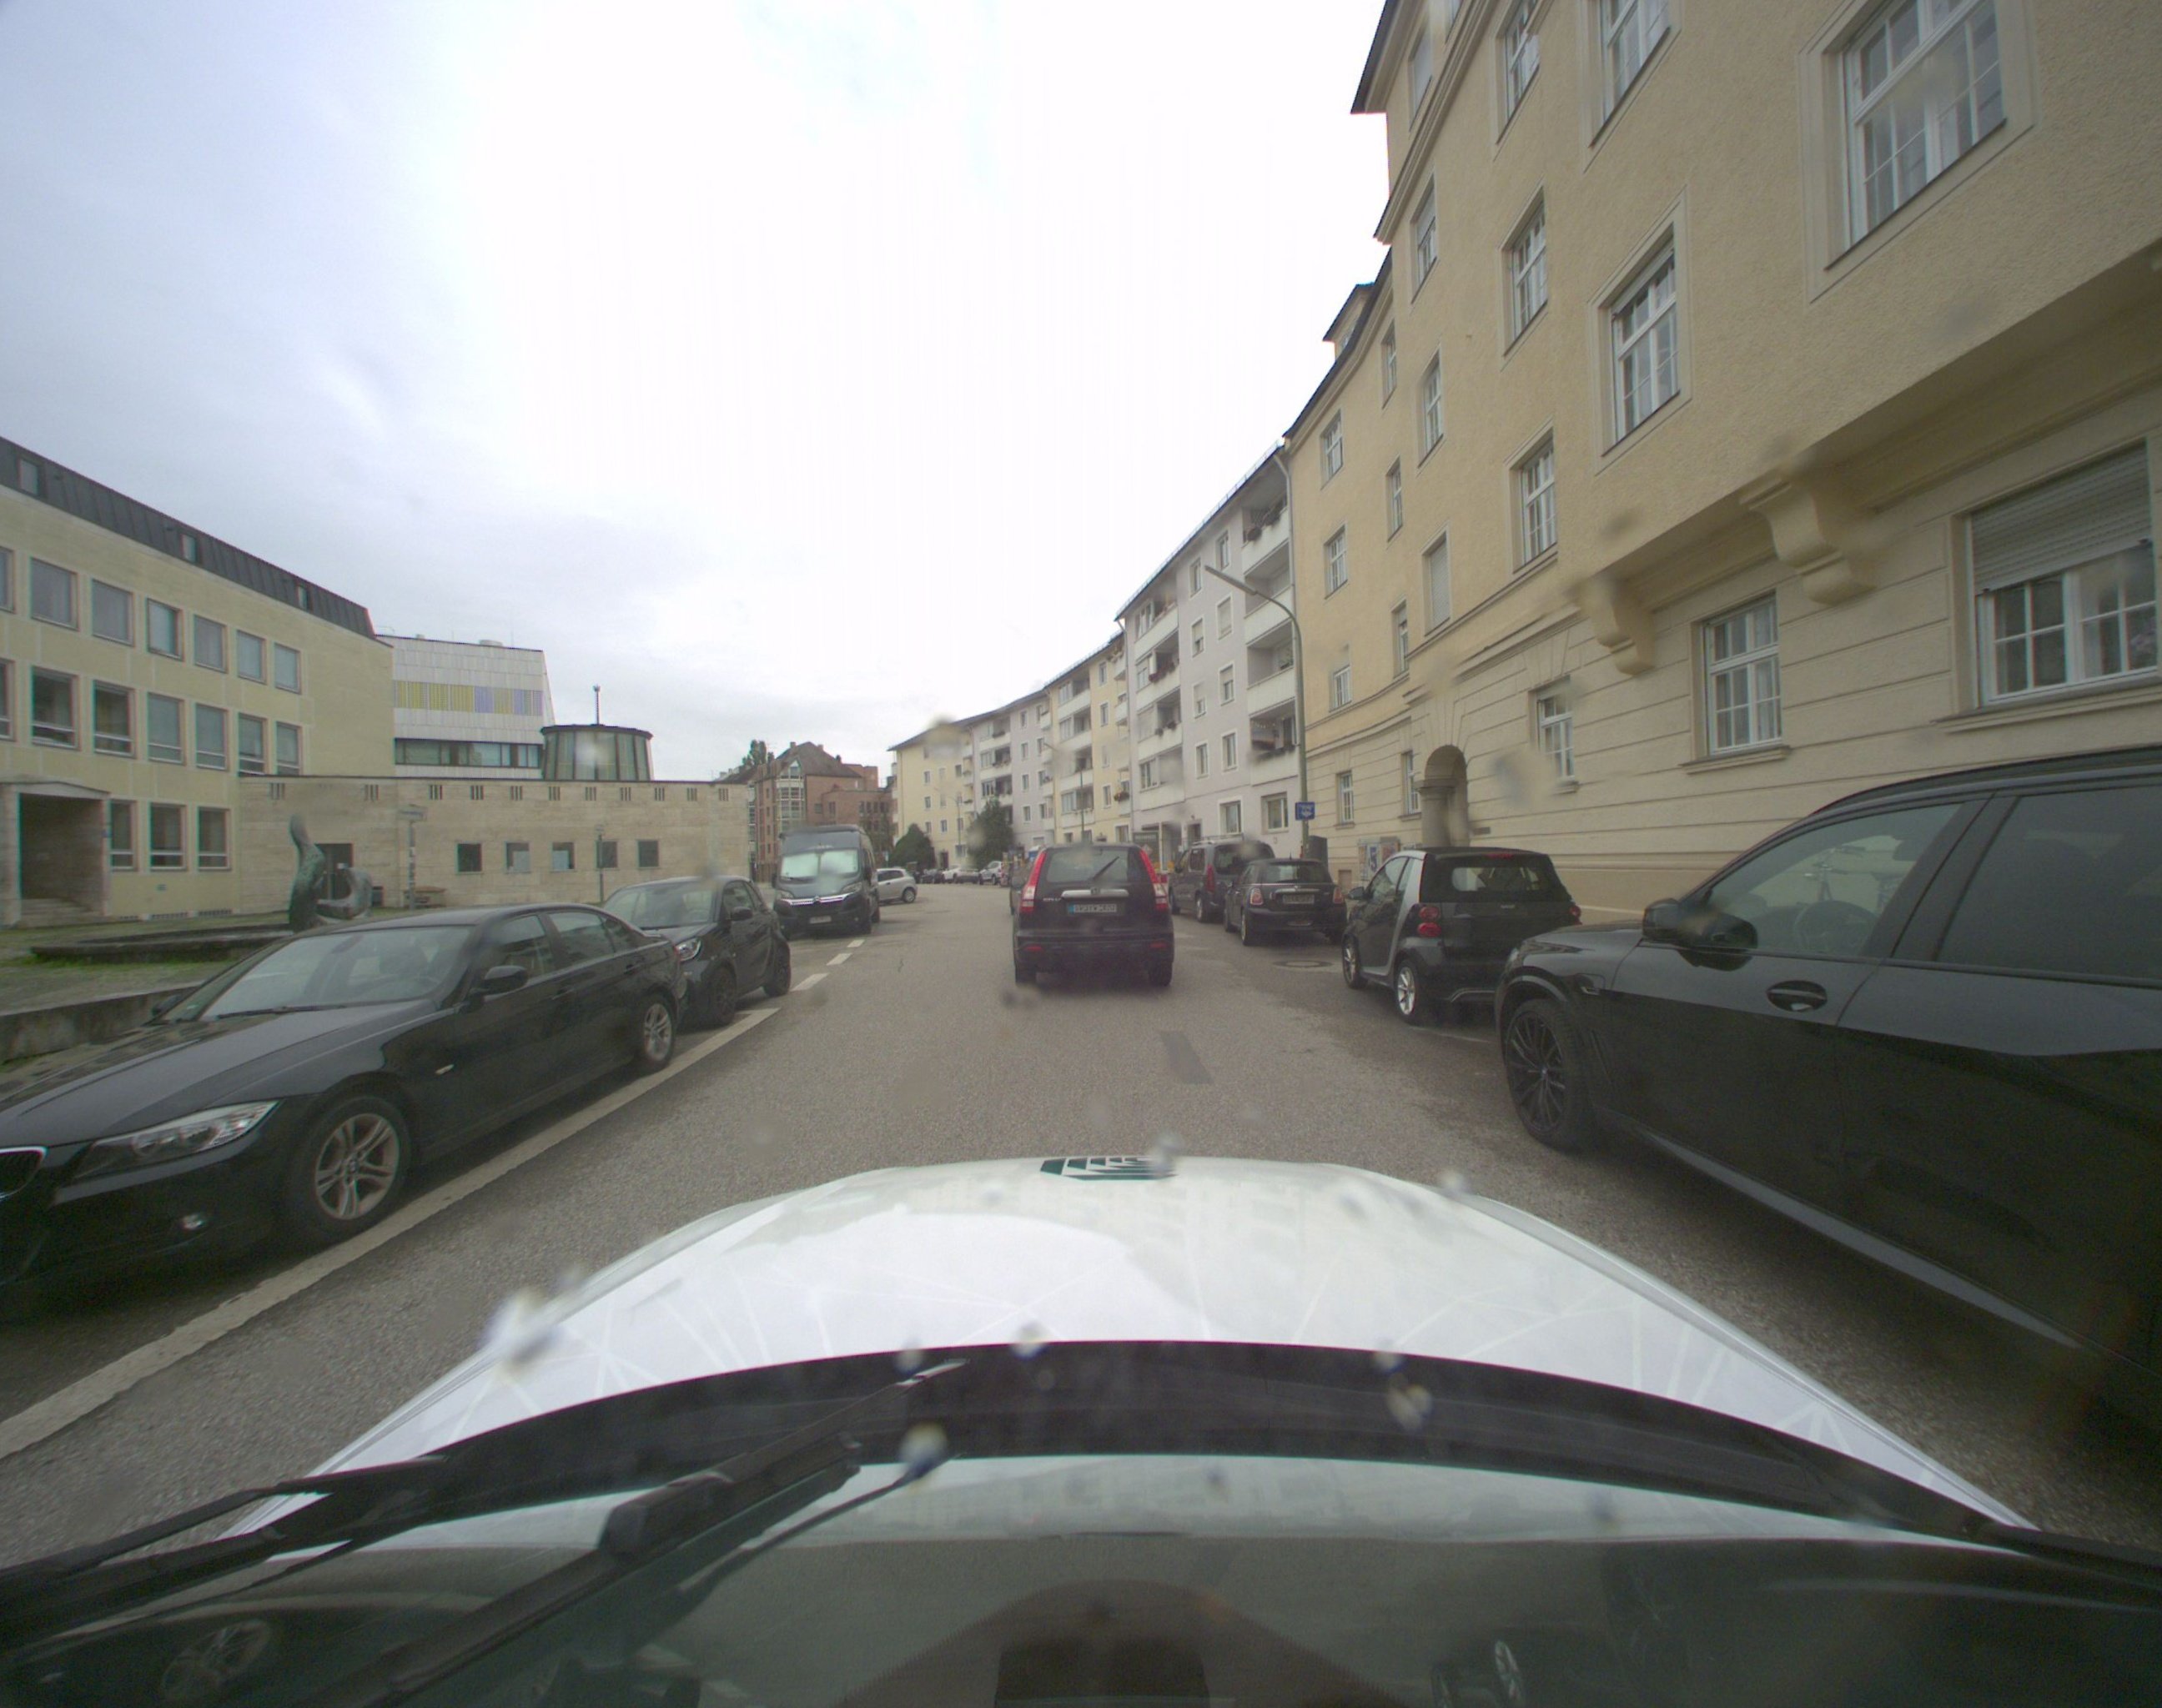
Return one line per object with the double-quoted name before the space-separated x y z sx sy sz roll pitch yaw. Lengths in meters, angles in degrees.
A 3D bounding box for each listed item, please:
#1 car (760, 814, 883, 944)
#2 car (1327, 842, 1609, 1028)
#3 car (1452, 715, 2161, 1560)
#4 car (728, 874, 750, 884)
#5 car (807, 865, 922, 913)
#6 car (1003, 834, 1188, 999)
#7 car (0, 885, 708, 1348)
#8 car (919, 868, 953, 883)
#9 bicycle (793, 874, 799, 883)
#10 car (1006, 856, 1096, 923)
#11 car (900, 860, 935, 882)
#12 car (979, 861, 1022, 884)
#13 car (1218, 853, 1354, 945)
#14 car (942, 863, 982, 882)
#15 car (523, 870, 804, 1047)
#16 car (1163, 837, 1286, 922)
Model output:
"car" -6.192 0.539 20.189 2.166 2.641 5.992 -3 0 -12
"car" 3.645 0.681 8.257 1.528 1.524 3.113 0 0 3
"car" 3.166 0.577 2.660 1.861 1.717 4.868 0 0 2
"car" -50.045 3.660 119.171 1.823 1.472 4.068 -1 0 -41
"car" -8.576 1.373 32.496 1.663 1.481 4.113 -7 -1 41
"car" 0.094 0.663 10.458 1.886 1.647 3.988 -2 -1 -2
"car" -4.124 1.017 4.980 1.795 1.406 4.449 -4 0 -4
"car" -12.416 1.833 69.592 1.709 1.236 3.565 -1 0 -32
"bicycle" -41.996 3.561 120.170 0.554 1.288 1.744 -1 -1 -28
"car" -0.868 0.843 20.799 1.680 1.481 4.071 -2 -1 -11
"car" -14.781 1.546 73.459 1.736 1.878 3.960 -1 0 -32
"car" -5.627 1.237 56.471 1.733 1.483 3.966 -1 0 -26
"car" 3.559 0.728 14.779 1.701 1.447 3.833 0 0 3
"car" -9.616 1.473 65.360 1.736 1.483 3.960 -1 0 -32
"car" -4.416 1.003 9.129 1.667 1.502 2.973 -4 0 -4
"car" 3.302 0.560 19.604 1.775 1.807 4.266 0 0 -6
